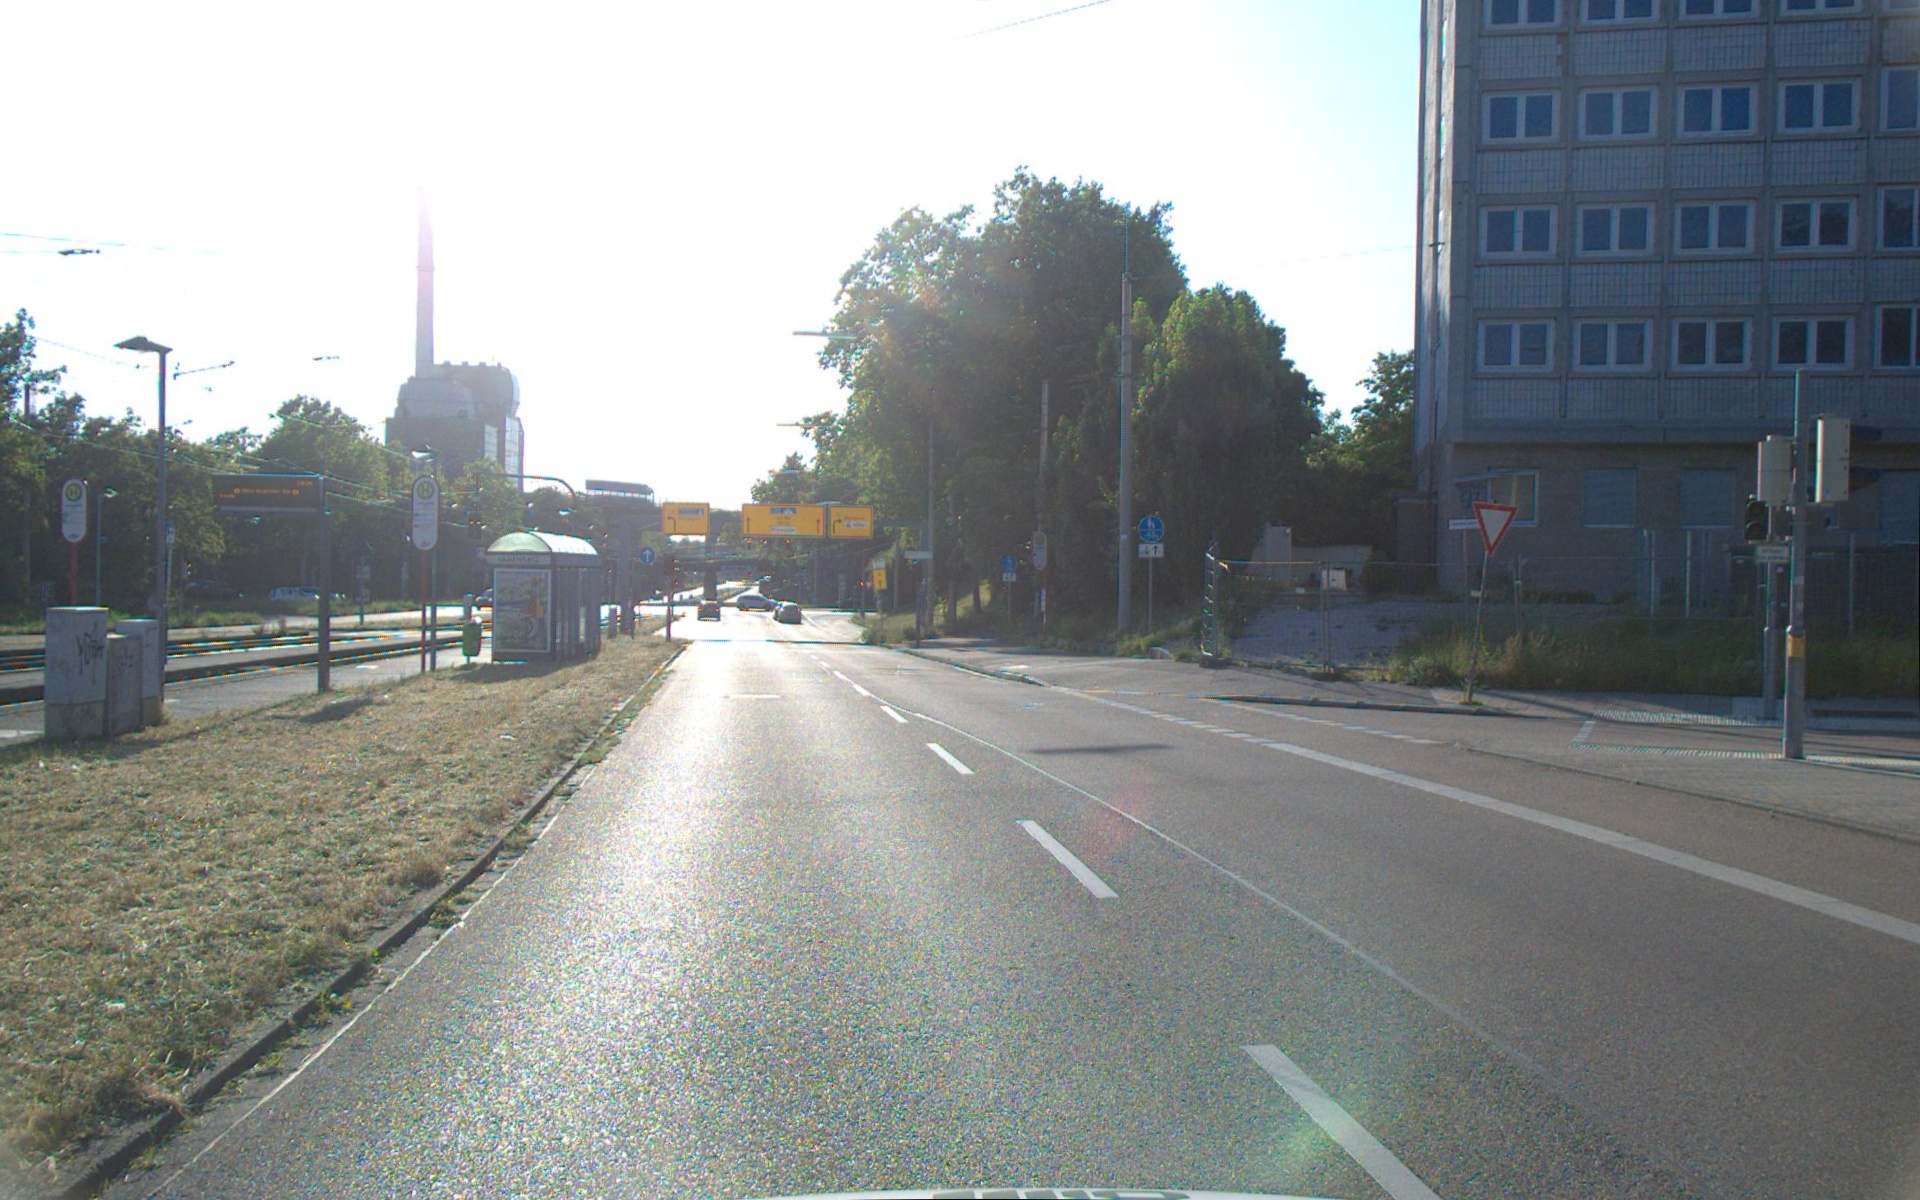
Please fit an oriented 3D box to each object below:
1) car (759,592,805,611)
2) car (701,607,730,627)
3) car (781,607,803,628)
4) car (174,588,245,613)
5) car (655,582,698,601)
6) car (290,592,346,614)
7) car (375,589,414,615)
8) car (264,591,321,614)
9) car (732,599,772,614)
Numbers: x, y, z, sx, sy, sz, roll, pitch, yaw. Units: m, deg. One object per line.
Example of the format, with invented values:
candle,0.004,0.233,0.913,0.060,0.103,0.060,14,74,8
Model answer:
car,-20.162,0.162,187.681,4.743,2.048,2.002,1,1,12
car,-18.807,1.275,127.497,1.998,1.471,3.995,0,0,-5
car,-12.743,1.320,125.560,1.485,1.412,3.360,1,1,-4
car,-57.339,0.043,126.353,4.729,1.876,1.978,0,0,-32
car,-33.688,-1.006,196.537,4.683,2.048,2.002,1,1,14
car,-52.580,0.268,135.464,3.949,1.780,1.978,0,0,-32
car,-44.116,0.151,129.092,1.954,2.049,3.996,0,0,-4
car,-53.007,0.197,131.382,3.949,1.780,1.978,0,0,-32
car,-20.284,0.616,161.469,3.911,1.471,1.771,0,0,-8
